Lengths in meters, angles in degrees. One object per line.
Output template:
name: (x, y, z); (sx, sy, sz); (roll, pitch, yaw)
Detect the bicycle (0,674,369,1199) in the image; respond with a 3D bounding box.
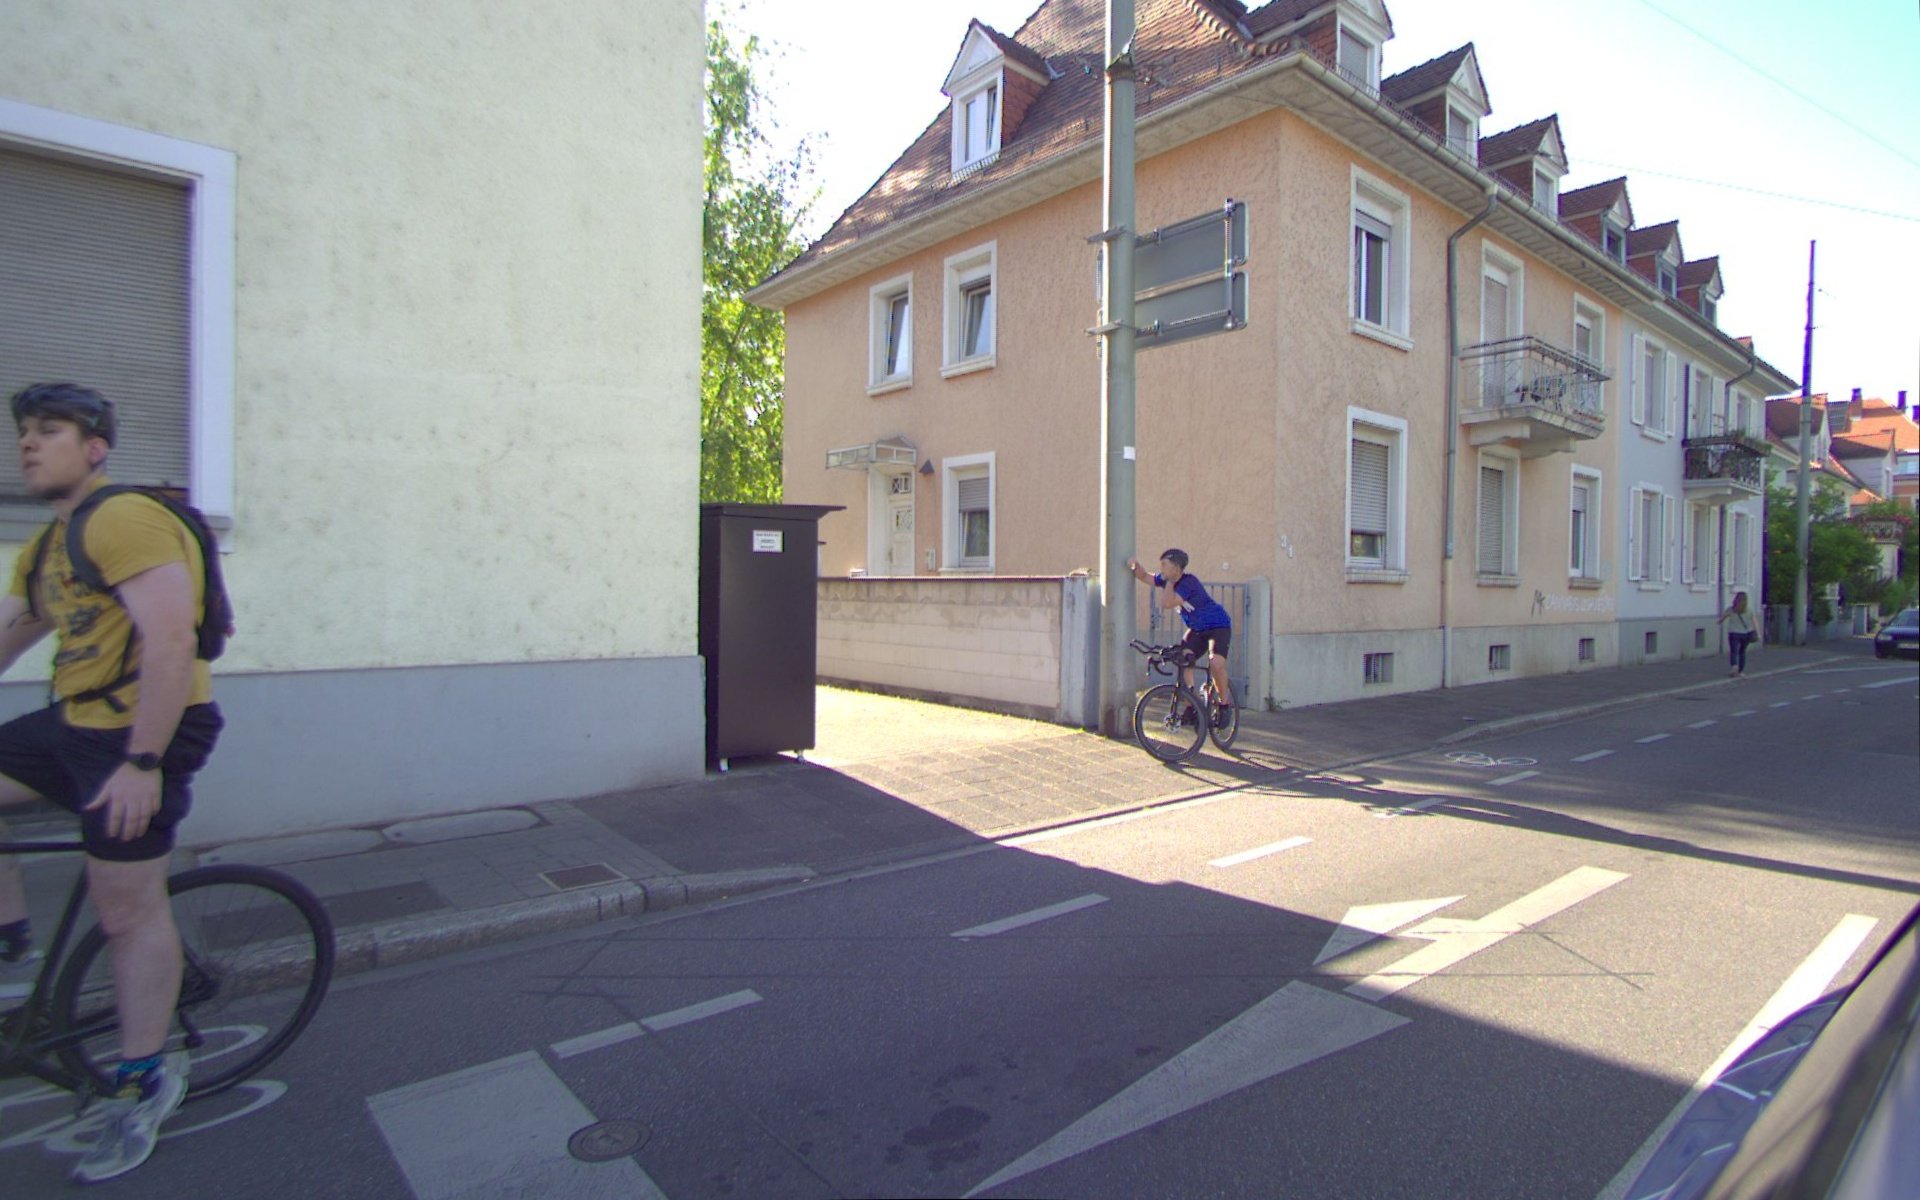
bicycle: (-2.491, 0.841, 2.536); (1.669, 1.180, 0.572); (0, 1, -41)

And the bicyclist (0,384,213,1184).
bicyclist: (-2.506, 0.419, 2.495); (1.018, 1.840, 0.653); (0, 1, -41)

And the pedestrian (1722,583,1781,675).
pedestrian: (15.044, 0.525, 19.224); (1.079, 1.682, 0.694); (0, 0, -41)

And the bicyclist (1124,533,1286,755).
bicyclist: (2.268, 0.356, 9.436); (0.831, 1.887, 1.076); (0, 4, -40)

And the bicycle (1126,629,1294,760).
bicycle: (2.301, 0.813, 9.211); (1.669, 1.003, 0.572); (0, 4, -41)

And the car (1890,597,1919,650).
car: (26.680, 0.623, 27.349); (3.796, 1.382, 1.648); (0, 1, -38)
